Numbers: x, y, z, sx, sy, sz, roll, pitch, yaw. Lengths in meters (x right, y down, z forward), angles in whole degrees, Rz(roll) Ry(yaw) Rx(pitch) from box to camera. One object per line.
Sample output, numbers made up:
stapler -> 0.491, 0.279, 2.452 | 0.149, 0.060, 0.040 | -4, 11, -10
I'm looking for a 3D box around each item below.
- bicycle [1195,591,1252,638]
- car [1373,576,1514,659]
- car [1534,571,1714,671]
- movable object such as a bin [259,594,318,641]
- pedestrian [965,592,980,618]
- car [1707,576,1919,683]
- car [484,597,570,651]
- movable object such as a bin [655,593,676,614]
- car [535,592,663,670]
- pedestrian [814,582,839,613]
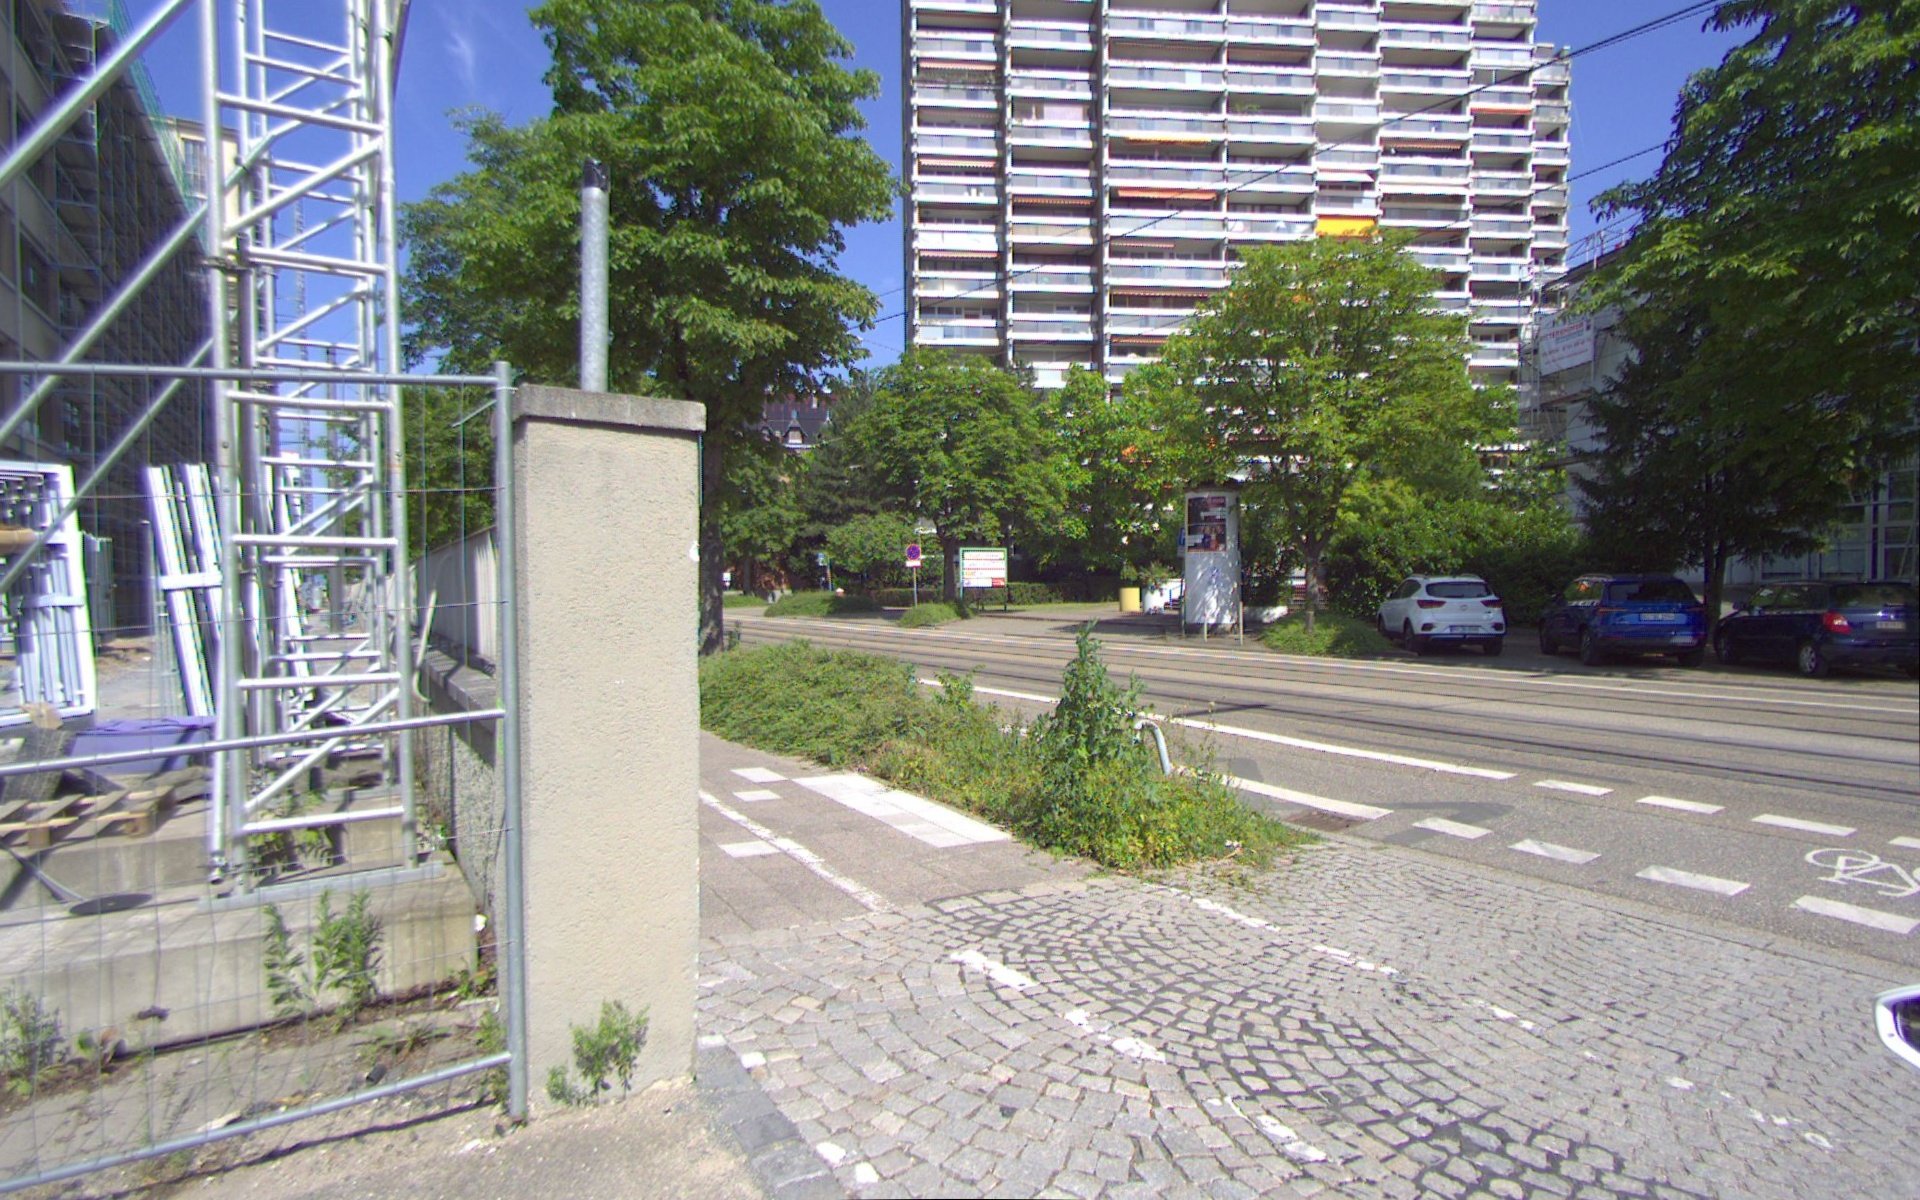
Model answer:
bicycle -> 7.616, 0.401, 29.056 | 0.542, 1.326, 1.604 | -1, 1, -37
car -> 10.317, 0.319, 21.745 | 1.783, 1.628, 3.947 | 0, 1, 10
car -> 12.320, 0.310, 18.916 | 1.745, 1.644, 3.945 | -1, 2, 17
movable object such as a bin -> -28.014, 0.684, 41.995 | 1.750, 1.866, 3.968 | -1, 1, -30
pedestrian -> 0.552, 0.212, 44.706 | 0.525, 1.170, 0.700 | -1, 1, -10
car -> 13.900, 0.410, 16.323 | 1.544, 1.551, 3.460 | 0, 1, 12
car -> -13.047, 0.667, 30.144 | 1.801, 1.473, 3.965 | -1, 0, -32
movable object such as a bin -> -20.845, 0.246, 71.076 | 1.249, 1.473, 1.072 | 0, 1, -27
car -> -7.941, 0.604, 21.880 | 1.801, 1.514, 4.072 | -1, 0, -32
pedestrian -> -8.006, -0.140, 60.065 | 1.049, 1.822, 1.253 | 1, 0, -33
